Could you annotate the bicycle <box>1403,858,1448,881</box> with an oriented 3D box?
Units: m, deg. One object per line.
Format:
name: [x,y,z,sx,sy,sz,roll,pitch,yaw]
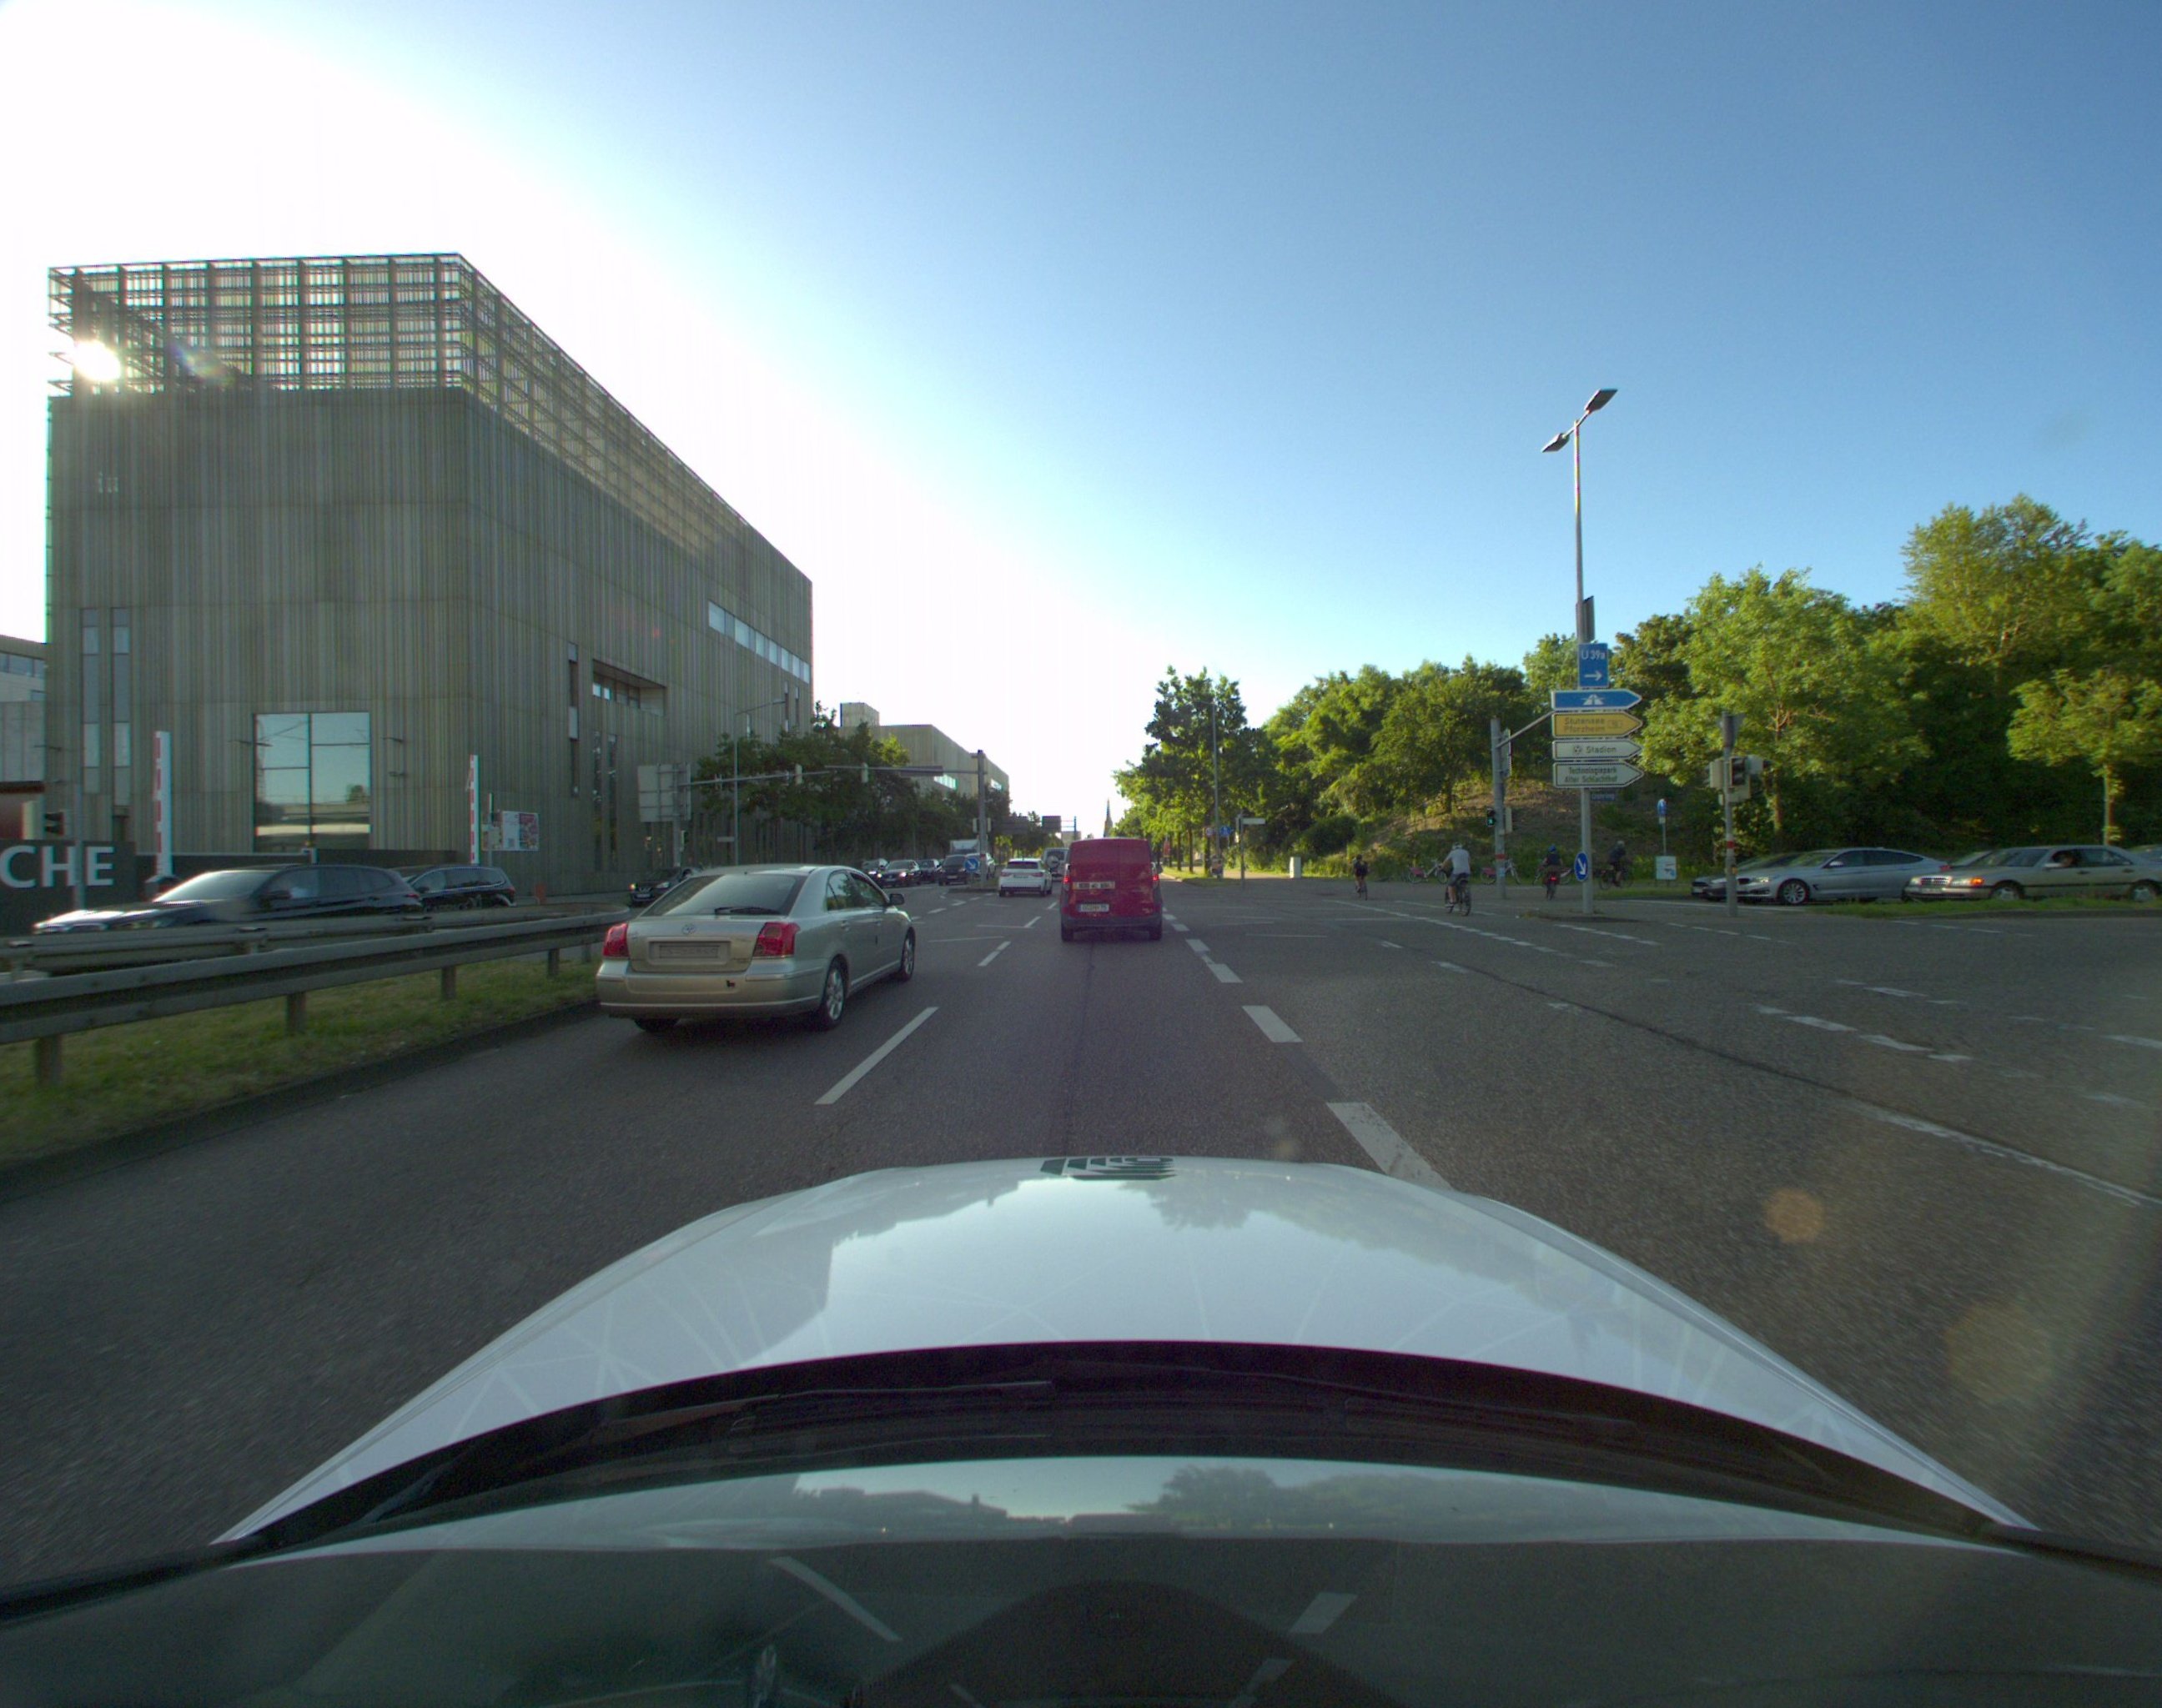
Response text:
bicycle: [15.074,0.690,35.642,1.734,1.023,0.595,0,-2,9]

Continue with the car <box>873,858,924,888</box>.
car: [-9.706,0.990,43.624,1.630,1.443,4.078,-3,-1,1]

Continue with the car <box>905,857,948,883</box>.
car: [-9.254,0.957,49.033,1.630,1.443,4.078,-3,-1,2]

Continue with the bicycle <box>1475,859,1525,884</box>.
bicycle: [17.584,0.740,34.209,1.734,1.023,0.595,0,-2,9]

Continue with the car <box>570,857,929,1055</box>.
car: [-2.925,0.801,8.327,1.726,1.480,4.321,-1,-1,2]

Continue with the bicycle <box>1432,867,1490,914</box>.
bicycle: [8.672,0.824,18.659,0.589,1.023,1.751,0,-2,3]

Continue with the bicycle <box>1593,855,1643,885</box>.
bicycle: [19.788,0.602,30.004,1.753,1.023,0.664,-2,-3,-25]

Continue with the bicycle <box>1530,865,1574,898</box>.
bicycle: [15.343,0.894,26.580,0.667,1.023,2.062,0,-2,13]

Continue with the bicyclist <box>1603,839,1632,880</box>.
bicyclist: [19.754,0.208,29.993,0.619,1.481,0.646,0,-1,-25]

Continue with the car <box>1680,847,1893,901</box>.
car: [20.780,0.597,24.177,4.523,1.514,1.832,0,-2,7]

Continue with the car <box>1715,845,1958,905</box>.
car: [19.969,0.564,21.731,4.523,1.514,1.832,0,-2,7]

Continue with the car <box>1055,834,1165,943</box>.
car: [0.548,0.547,15.409,1.798,1.794,4.002,0,1,2]

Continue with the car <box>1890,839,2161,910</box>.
car: [21.448,0.467,18.252,4.523,1.514,1.832,0,-2,7]

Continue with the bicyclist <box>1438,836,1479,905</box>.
bicyclist: [8.644,0.380,18.684,0.589,1.549,0.769,0,-2,3]

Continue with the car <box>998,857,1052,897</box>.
car: [-2.058,0.831,31.042,1.808,1.438,3.730,0,-1,0]

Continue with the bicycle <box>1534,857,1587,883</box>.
bicycle: [19.425,0.666,33.020,1.732,1.023,0.596,0,-2,14]

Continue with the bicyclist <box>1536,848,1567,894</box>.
bicyclist: [15.331,0.546,26.563,0.660,1.474,0.753,0,-2,13]

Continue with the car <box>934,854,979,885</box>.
car: [-6.573,0.816,43.373,1.630,1.443,3.720,-3,-1,1]

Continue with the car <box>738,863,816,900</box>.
car: [-12.930,1.135,34.881,1.640,1.404,3.980,-3,-1,2]

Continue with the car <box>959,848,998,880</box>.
car: [-6.340,0.644,50.682,1.751,1.796,4.084,-3,-1,1]

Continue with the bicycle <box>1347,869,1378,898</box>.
bicycle: [10.161,1.047,29.413,0.589,1.023,1.751,0,-2,3]

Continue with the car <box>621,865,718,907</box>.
car: [-16.323,1.210,32.557,1.640,1.482,3.980,-3,-1,2]

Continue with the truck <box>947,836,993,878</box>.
truck: [-8.762,0.243,64.721,2.400,3.027,6.658,-3,-1,1]

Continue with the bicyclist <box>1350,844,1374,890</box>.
bicyclist: [10.145,0.483,29.431,0.589,1.614,0.943,0,-2,3]

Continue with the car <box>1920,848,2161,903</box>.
car: [27.472,0.627,23.388,4.523,1.514,1.832,0,-2,7]

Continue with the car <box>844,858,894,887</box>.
car: [-12.497,1.076,48.281,1.640,1.545,4.400,-3,-1,2]

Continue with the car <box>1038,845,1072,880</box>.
car: [-1.523,0.544,48.900,1.795,1.989,4.588,0,-2,1]

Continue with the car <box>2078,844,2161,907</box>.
car: [28.353,0.527,20.211,4.523,1.514,1.832,0,-2,7]

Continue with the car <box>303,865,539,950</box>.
car: [-15.849,1.198,19.969,1.817,1.737,4.631,-3,-1,2]

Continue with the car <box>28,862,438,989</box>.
car: [-13.308,1.000,13.320,1.818,1.625,4.531,-3,-1,2]
